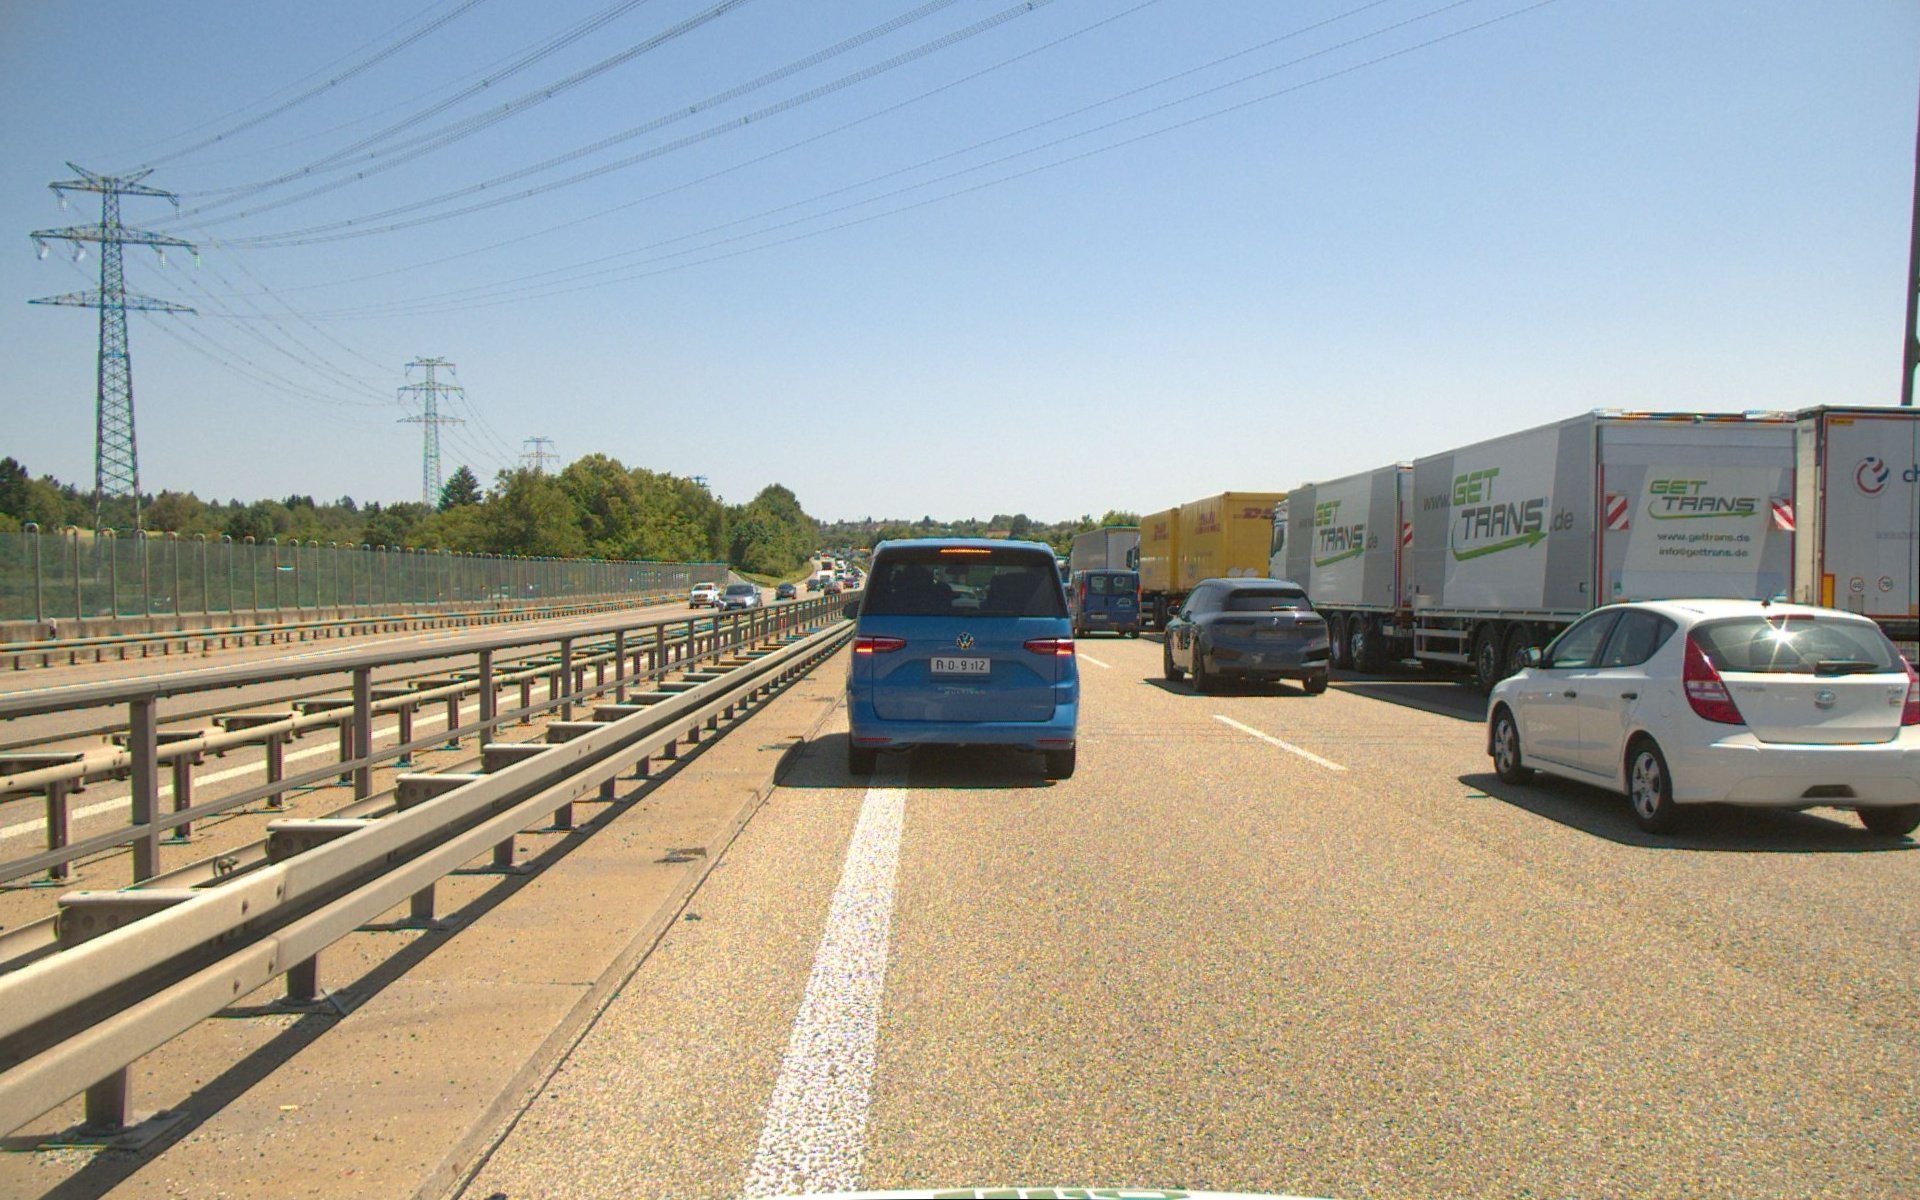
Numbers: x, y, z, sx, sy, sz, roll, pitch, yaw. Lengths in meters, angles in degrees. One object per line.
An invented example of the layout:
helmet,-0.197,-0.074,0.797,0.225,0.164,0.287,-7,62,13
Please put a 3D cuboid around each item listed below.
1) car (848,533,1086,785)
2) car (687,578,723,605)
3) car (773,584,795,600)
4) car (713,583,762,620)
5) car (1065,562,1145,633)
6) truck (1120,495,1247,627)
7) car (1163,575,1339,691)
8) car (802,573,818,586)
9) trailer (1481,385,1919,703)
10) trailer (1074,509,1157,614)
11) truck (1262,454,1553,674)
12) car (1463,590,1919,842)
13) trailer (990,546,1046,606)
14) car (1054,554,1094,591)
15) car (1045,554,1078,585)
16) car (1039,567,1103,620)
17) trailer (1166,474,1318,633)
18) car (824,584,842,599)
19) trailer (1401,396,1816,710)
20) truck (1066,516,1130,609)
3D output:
car,0.018,0.436,14.621,1.783,1.889,4.074,1,0,-1
car,-18.925,-0.642,122.896,1.953,1.918,5.254,0,1,-2
car,-15.931,-0.722,149.904,1.565,1.373,4.178,-2,1,-1
car,-10.548,0.064,78.668,1.769,1.655,4.476,-2,1,-2
car,4.286,-0.085,49.475,1.922,2.028,4.292,0,1,-1
truck,7.900,-1.338,60.041,2.779,4.317,11.007,1,0,-2
car,4.459,0.448,25.953,1.922,1.673,4.292,0,1,-1
car,-18.549,-2.541,204.620,1.695,1.517,4.418,-2,1,-2
trailer,12.674,-0.800,28.789,2.660,4.214,13.422,1,1,-1
trailer,7.243,-1.783,78.655,2.583,4.595,11.299,1,1,-1
truck,8.553,-0.676,33.378,2.603,3.711,11.007,0,1,-2
car,5.238,0.681,12.057,1.752,1.481,4.292,0,1,-1
trailer,3.083,-1.248,90.513,2.517,3.042,10.661,1,0,-1
car,6.661,-1.591,96.640,1.953,2.049,3.999,1,0,-1
car,6.979,-2.089,114.114,1.953,2.049,4.460,-1,1,-1
car,3.948,-0.246,59.268,1.953,1.847,3.999,0,1,-1
trailer,8.326,-1.293,49.975,2.806,4.313,9.009,1,0,-1
car,-12.361,-0.854,161.099,1.565,1.340,4.340,-2,1,-2
trailer,8.863,-0.613,23.857,2.643,3.764,8.012,0,1,-2
truck,7.097,-1.893,85.816,2.613,4.562,6.848,1,0,-1
